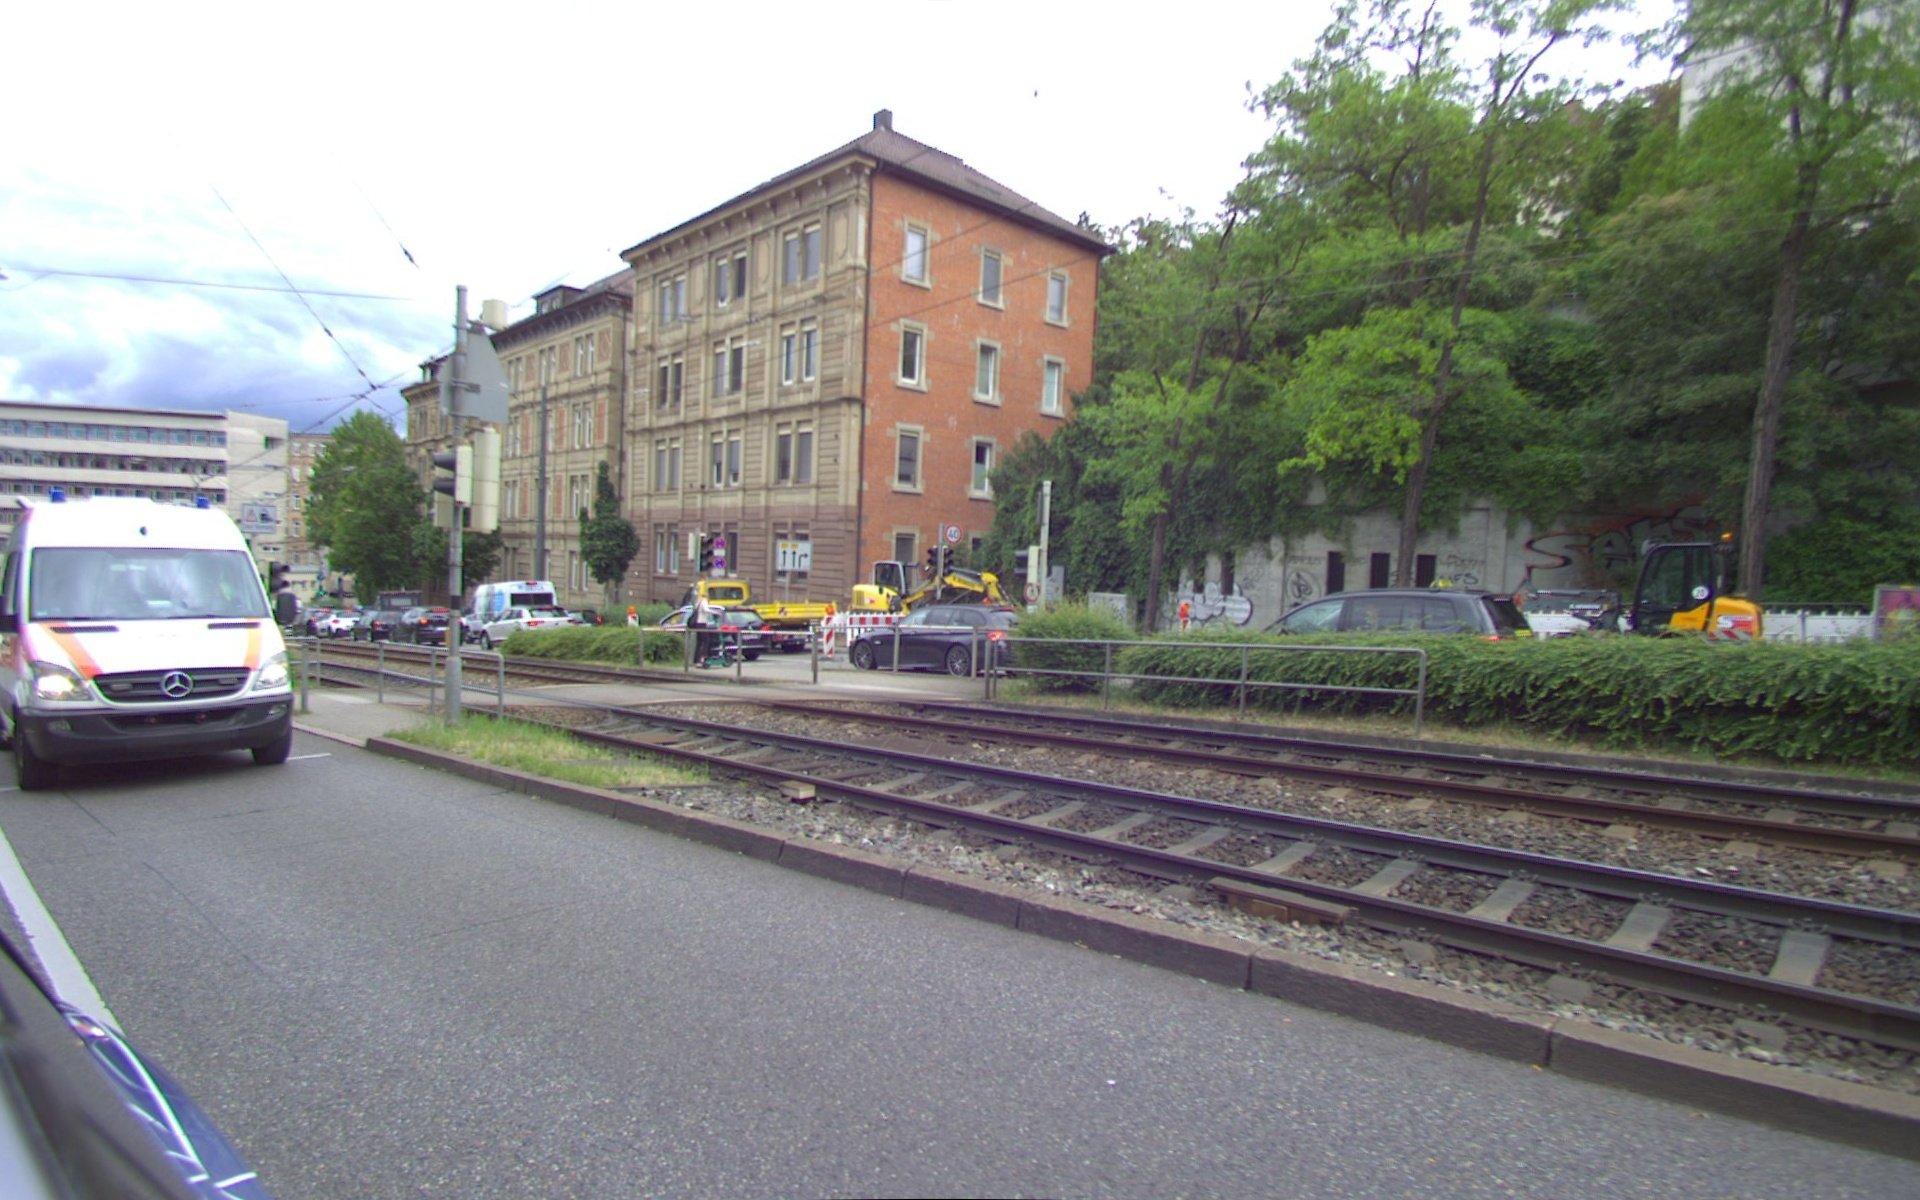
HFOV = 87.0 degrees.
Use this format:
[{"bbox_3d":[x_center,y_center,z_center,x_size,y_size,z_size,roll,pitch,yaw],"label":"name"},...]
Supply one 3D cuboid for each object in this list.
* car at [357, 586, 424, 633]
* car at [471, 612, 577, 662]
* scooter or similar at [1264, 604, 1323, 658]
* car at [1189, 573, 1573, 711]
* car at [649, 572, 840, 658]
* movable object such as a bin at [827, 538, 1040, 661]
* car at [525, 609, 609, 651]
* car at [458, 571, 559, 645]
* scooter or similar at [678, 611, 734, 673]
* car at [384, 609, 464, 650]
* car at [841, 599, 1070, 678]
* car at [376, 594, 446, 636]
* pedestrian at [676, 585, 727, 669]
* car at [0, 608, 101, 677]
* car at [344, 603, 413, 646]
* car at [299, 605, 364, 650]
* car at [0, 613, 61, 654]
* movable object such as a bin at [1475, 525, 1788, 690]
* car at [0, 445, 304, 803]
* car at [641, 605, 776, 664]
[{"bbox_3d":[-29.544,0.518,52.420,2.209,2.305,4.005,1,-1,-42],"label":"car"},{"bbox_3d":[-14.471,1.189,33.492,3.999,1.579,1.685,-1,-1,42],"label":"car"},{"bbox_3d":[8.117,0.760,24.668,1.290,1.299,0.423,-2,-2,36],"label":"scooter or similar"},{"bbox_3d":[5.745,0.535,14.301,1.969,1.617,4.626,1,-1,-41],"label":"car"},{"bbox_3d":[-6.912,0.445,31.816,6.753,2.454,2.414,-1,0,42],"label":"car"},{"bbox_3d":[-0.926,0.041,32.329,6.535,3.575,2.722,-1,-1,36],"label":"movable object such as a bin"},{"bbox_3d":[-14.575,1.083,37.449,1.626,1.465,3.567,0,-1,-45],"label":"car"},{"bbox_3d":[-18.455,0.354,41.264,2.183,2.844,4.787,1,-2,-45],"label":"car"},{"bbox_3d":[-5.536,0.898,22.151,0.528,1.306,1.490,0,-1,16],"label":"scooter or similar"},{"bbox_3d":[-21.188,1.135,39.943,1.844,1.531,3.954,1,-1,-42],"label":"car"},{"bbox_3d":[-0.211,0.751,20.818,1.860,1.446,4.848,3,-3,-44],"label":"car"},{"bbox_3d":[-27.013,0.745,49.749,2.287,1.954,3.441,1,-1,-42],"label":"car"},{"bbox_3d":[-5.731,0.601,22.472,0.788,1.831,0.735,0,-2,24],"label":"pedestrian"},{"bbox_3d":[-23.753,1.046,26.412,1.903,1.584,4.186,-2,0,-42],"label":"car"},{"bbox_3d":[-25.314,1.047,43.986,1.814,1.763,4.005,1,-1,-42],"label":"car"},{"bbox_3d":[-30.090,1.276,48.435,1.969,2.060,4.005,1,-1,-42],"label":"car"},{"bbox_3d":[-37.866,1.317,40.872,4.318,1.564,1.971,-1,-2,44],"label":"car"},{"bbox_3d":[11.469,0.126,17.505,1.909,2.486,4.104,-2,0,-40],"label":"movable object such as a bin"},{"bbox_3d":[-8.659,0.221,10.474,2.010,2.720,5.858,0,-1,-45],"label":"car"},{"bbox_3d":[-6.824,0.890,27.242,1.758,1.473,4.002,1,-2,-45],"label":"car"}]
